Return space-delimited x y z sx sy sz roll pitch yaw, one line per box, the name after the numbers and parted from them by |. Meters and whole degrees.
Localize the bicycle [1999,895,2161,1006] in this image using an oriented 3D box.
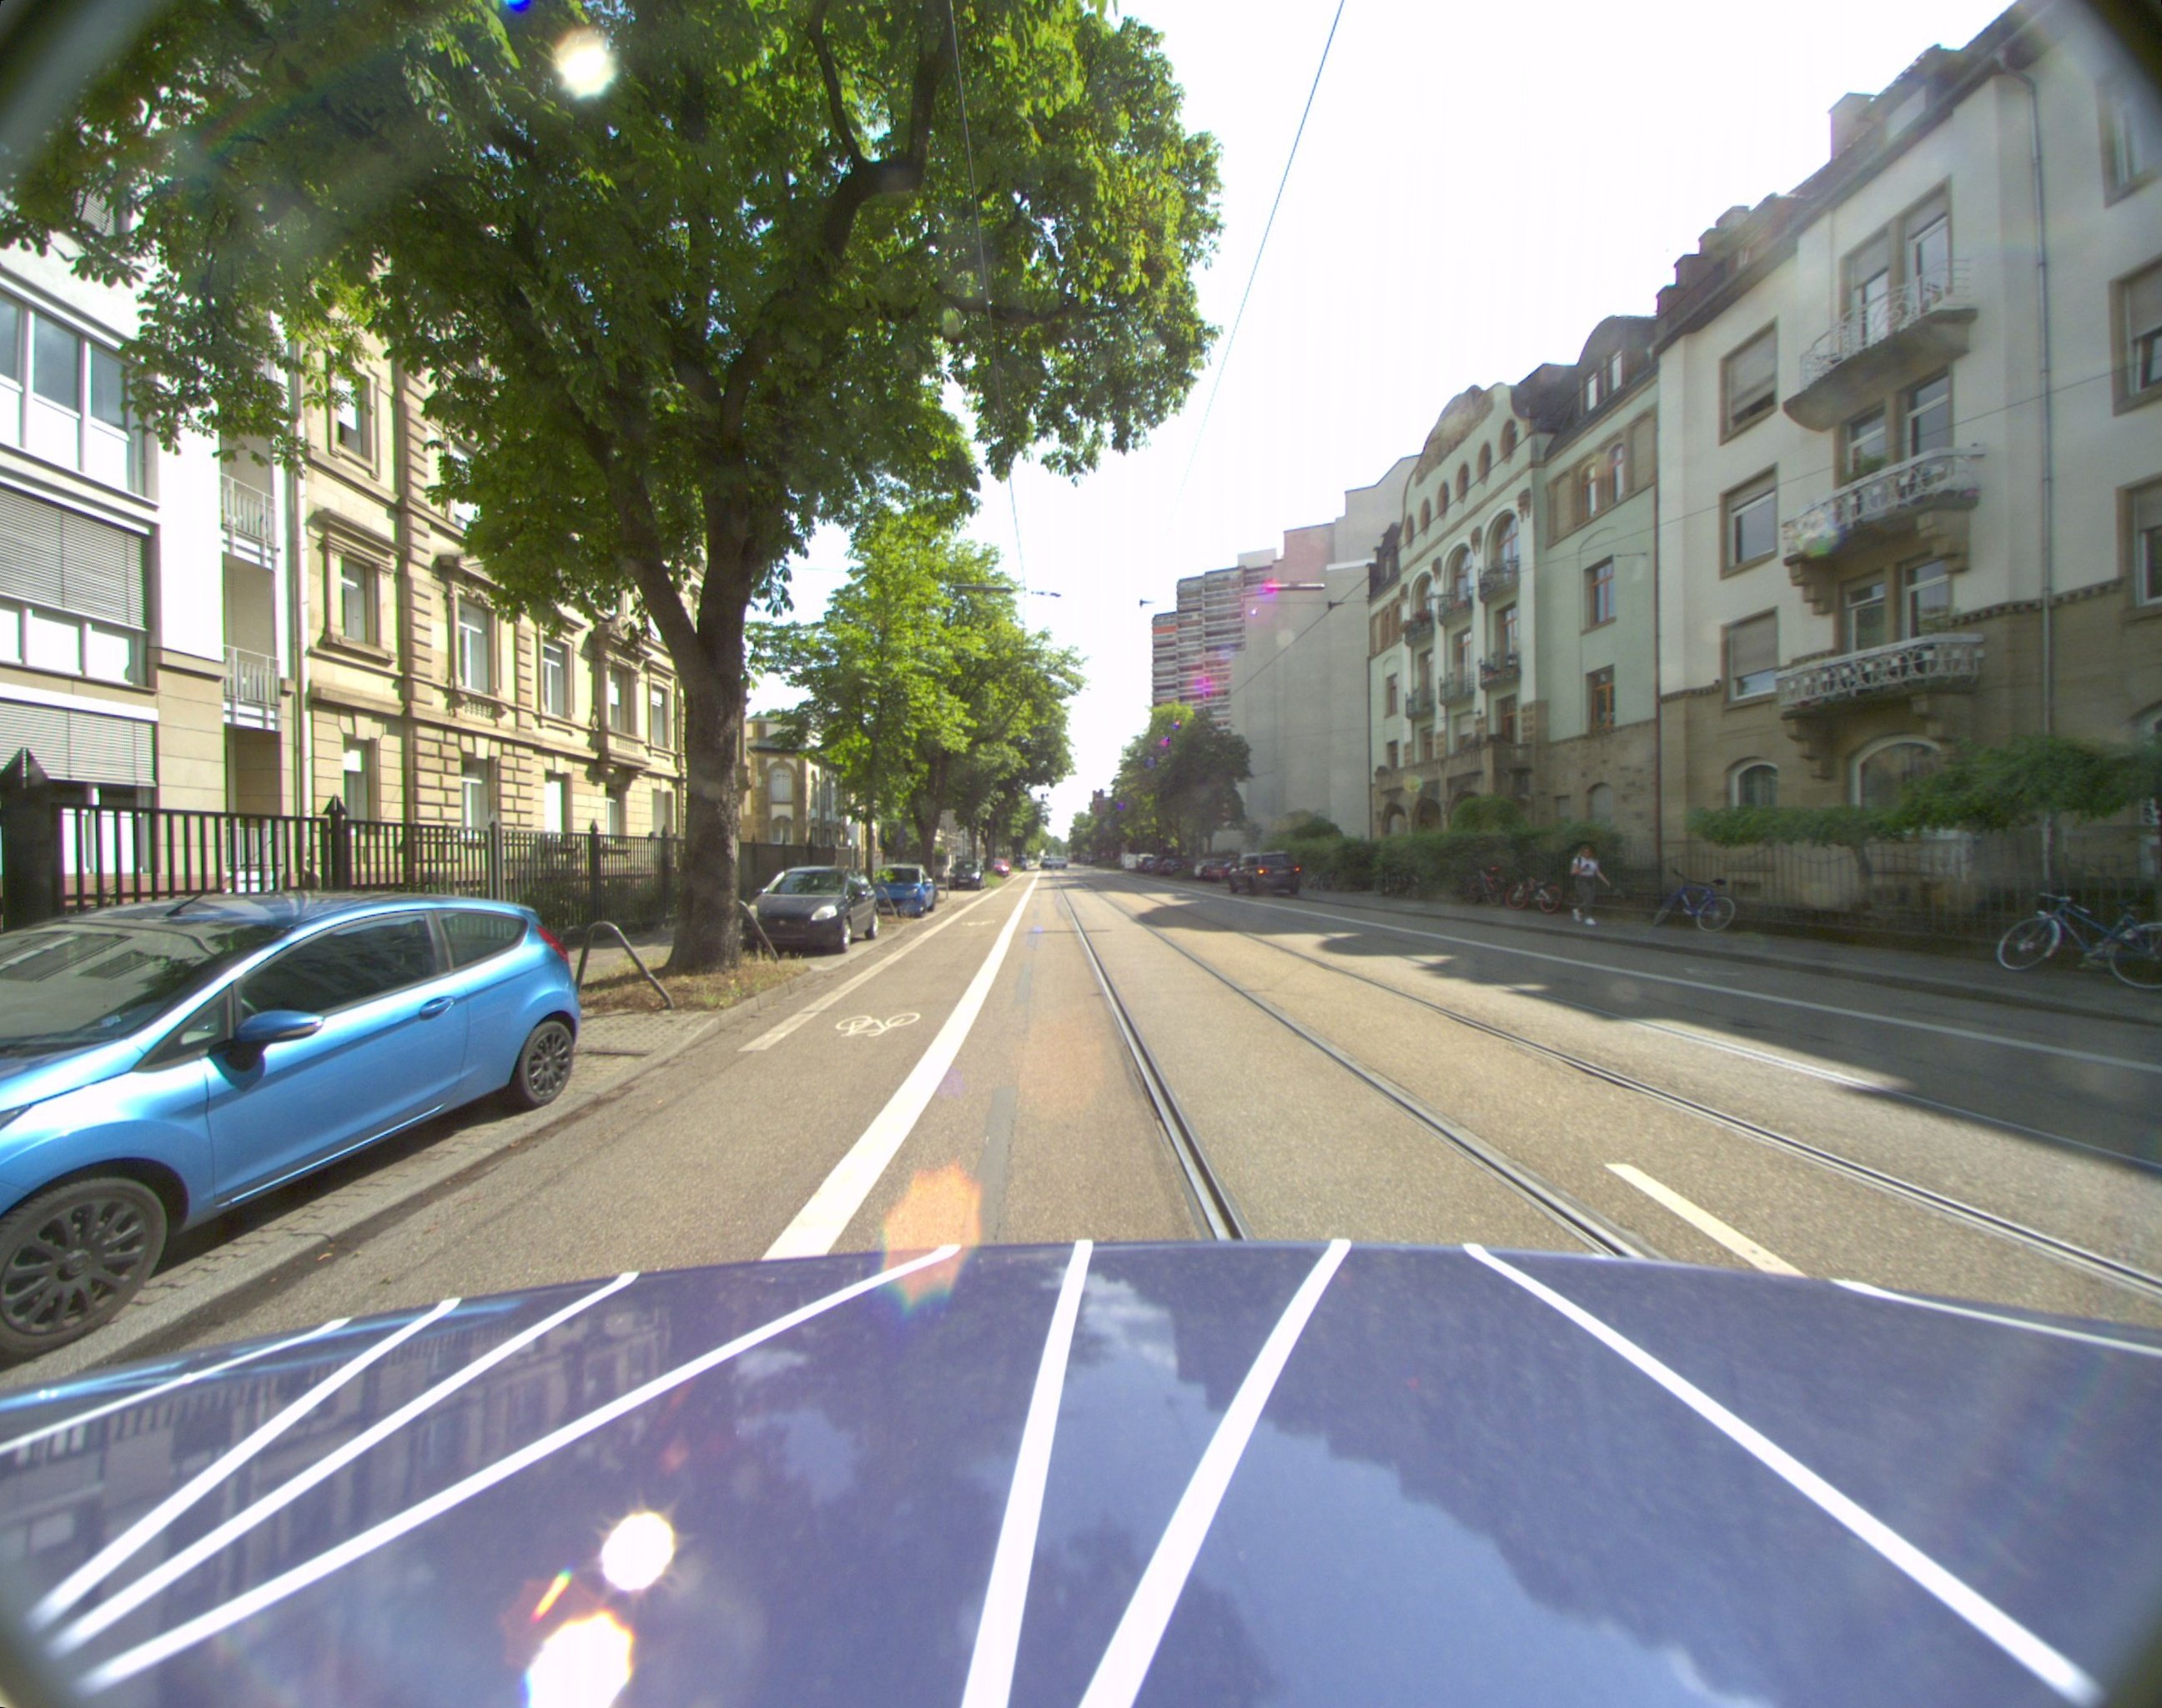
10.981 0.999 8.007 0.512 0.954 1.815 -4 2 4 | bicycle

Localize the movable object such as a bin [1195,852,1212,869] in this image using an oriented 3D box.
13.345 0.656 82.658 1.391 1.771 1.538 2 0 -7 | movable object such as a bin

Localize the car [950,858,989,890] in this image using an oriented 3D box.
-5.941 1.020 40.941 1.701 1.581 4.201 1 0 -4 | car

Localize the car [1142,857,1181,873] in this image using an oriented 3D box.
7.815 1.063 73.848 1.755 1.409 4.009 2 0 41 | car

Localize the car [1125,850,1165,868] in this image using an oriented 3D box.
7.308 0.567 86.674 4.696 1.985 1.963 0 0 -44 | car

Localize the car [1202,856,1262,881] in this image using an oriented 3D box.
9.554 0.934 47.882 1.841 1.475 3.979 2 0 44 | car

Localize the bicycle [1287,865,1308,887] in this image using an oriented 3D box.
10.010 0.994 35.160 0.384 0.953 1.810 -2 0 -1 | bicycle

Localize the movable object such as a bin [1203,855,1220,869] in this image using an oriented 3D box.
13.612 0.827 79.263 1.391 1.356 1.538 2 0 -7 | movable object such as a bin

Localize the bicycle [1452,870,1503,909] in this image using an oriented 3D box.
10.647 0.931 20.449 0.384 0.953 1.801 -2 0 -1 | bicycle

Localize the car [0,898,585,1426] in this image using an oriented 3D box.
-4.303 1.069 3.505 1.628 1.487 3.846 1 0 -3 | car

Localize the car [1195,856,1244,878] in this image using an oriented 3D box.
9.922 0.966 54.272 1.692 1.475 3.816 2 0 42 | car

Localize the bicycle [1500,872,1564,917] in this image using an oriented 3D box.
10.630 0.929 17.962 0.384 0.970 1.801 -2 0 -1 | bicycle

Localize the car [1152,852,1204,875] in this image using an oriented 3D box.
8.663 0.865 67.507 1.911 1.942 5.180 2 0 41 | car

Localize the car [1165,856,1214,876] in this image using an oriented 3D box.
8.744 0.988 61.019 4.009 1.475 1.736 2 0 -45 | car

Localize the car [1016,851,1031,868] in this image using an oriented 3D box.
-9.588 0.884 127.272 2.338 2.545 5.388 -4 1 -3 | car

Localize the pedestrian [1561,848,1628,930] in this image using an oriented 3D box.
10.183 0.680 15.096 0.681 1.559 0.882 -3 1 0 | pedestrian

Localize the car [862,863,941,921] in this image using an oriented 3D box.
-5.111 1.047 21.995 1.644 1.487 3.625 1 0 -4 | car

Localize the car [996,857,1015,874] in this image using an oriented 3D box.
-7.139 1.093 71.445 1.605 1.420 3.593 2 0 -9 | car

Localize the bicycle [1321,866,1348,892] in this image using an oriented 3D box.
10.163 0.984 30.518 0.384 0.953 1.921 -2 0 -1 | bicycle

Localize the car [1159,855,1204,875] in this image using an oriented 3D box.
8.505 0.959 64.164 1.735 1.583 4.009 2 0 43 | car

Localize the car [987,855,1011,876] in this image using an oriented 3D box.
-6.843 0.949 63.786 1.881 1.666 4.280 1 0 -5 | car

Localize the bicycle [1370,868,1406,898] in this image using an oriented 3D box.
10.446 0.969 25.881 0.384 0.953 1.921 -2 0 -1 | bicycle

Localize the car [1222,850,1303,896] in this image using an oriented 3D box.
7.355 0.731 31.259 1.790 1.752 4.881 0 0 -5 | car

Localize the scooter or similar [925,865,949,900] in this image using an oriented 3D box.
-5.523 1.076 29.154 0.443 1.291 1.179 3 -2 -33 | scooter or similar

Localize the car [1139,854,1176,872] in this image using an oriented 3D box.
7.796 0.910 77.088 1.755 1.683 3.724 2 0 44 | car

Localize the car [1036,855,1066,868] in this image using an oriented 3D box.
-4.754 1.194 121.320 4.239 1.841 1.890 -4 1 -19 | car

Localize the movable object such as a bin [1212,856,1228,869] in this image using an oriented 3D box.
13.547 0.818 74.279 1.171 1.276 1.441 2 0 -4 | movable object such as a bin

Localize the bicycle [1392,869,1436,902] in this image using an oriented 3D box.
10.411 0.956 23.819 0.452 0.953 1.800 -2 0 -3 | bicycle

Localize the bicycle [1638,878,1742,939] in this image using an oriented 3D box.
10.817 0.941 13.567 0.427 0.953 1.705 -2 0 -1 | bicycle

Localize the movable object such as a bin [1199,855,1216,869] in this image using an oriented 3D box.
13.469 0.859 80.915 1.391 1.356 1.538 2 0 -7 | movable object such as a bin

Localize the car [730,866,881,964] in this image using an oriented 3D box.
-4.855 1.007 13.902 1.644 1.487 3.756 1 0 -5 | car

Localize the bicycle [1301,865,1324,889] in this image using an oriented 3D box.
10.079 0.986 33.070 0.384 0.953 1.810 -2 0 -1 | bicycle

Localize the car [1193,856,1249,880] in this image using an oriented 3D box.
9.428 0.944 51.028 3.816 1.475 1.692 2 0 -42 | car
